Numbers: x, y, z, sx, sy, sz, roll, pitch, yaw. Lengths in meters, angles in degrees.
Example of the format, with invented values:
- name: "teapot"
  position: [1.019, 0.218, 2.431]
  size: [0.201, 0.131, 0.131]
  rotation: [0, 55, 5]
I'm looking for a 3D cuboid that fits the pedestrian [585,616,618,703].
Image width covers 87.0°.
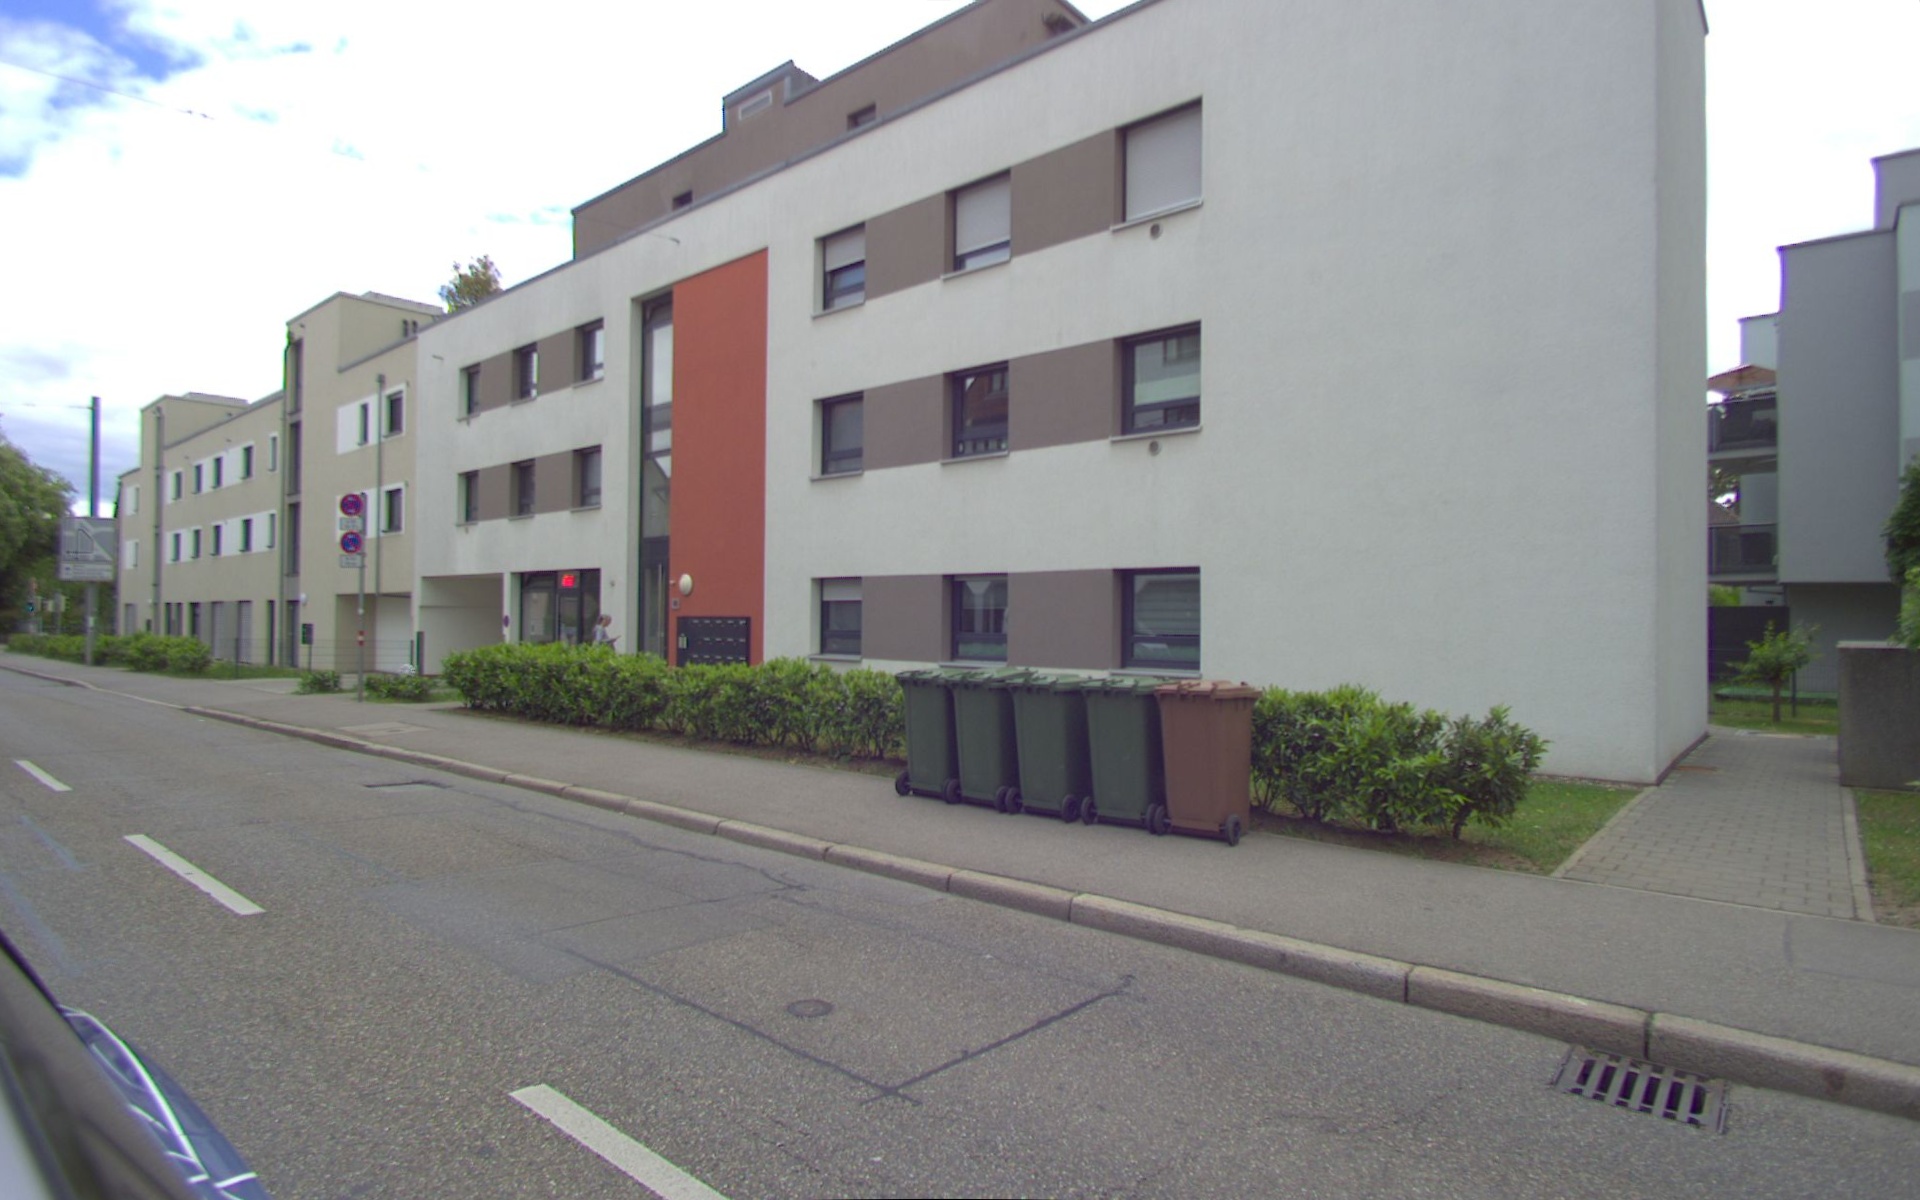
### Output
- name: "pedestrian"
  position: [-6.968, 1.136, 19.652]
  size: [0.511, 1.655, 0.642]
  rotation: [1, -2, -27]

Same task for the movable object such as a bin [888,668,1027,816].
- name: "movable object such as a bin"
  position: [-0.016, 1.137, 8.428]
  size: [0.791, 1.097, 0.886]
  rotation: [-1, -2, 37]

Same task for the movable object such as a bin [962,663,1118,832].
- name: "movable object such as a bin"
  position: [0.631, 1.096, 7.895]
  size: [0.839, 1.160, 0.947]
  rotation: [-1, -2, 37]

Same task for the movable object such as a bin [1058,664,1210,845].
- name: "movable object such as a bin"
  position: [1.282, 1.074, 7.386]
  size: [0.748, 1.160, 0.940]
  rotation: [-1, -2, 37]

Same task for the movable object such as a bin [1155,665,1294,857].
- name: "movable object such as a bin"
  position: [1.818, 1.044, 6.921]
  size: [0.612, 1.160, 0.932]
  rotation: [-1, -2, 36]
